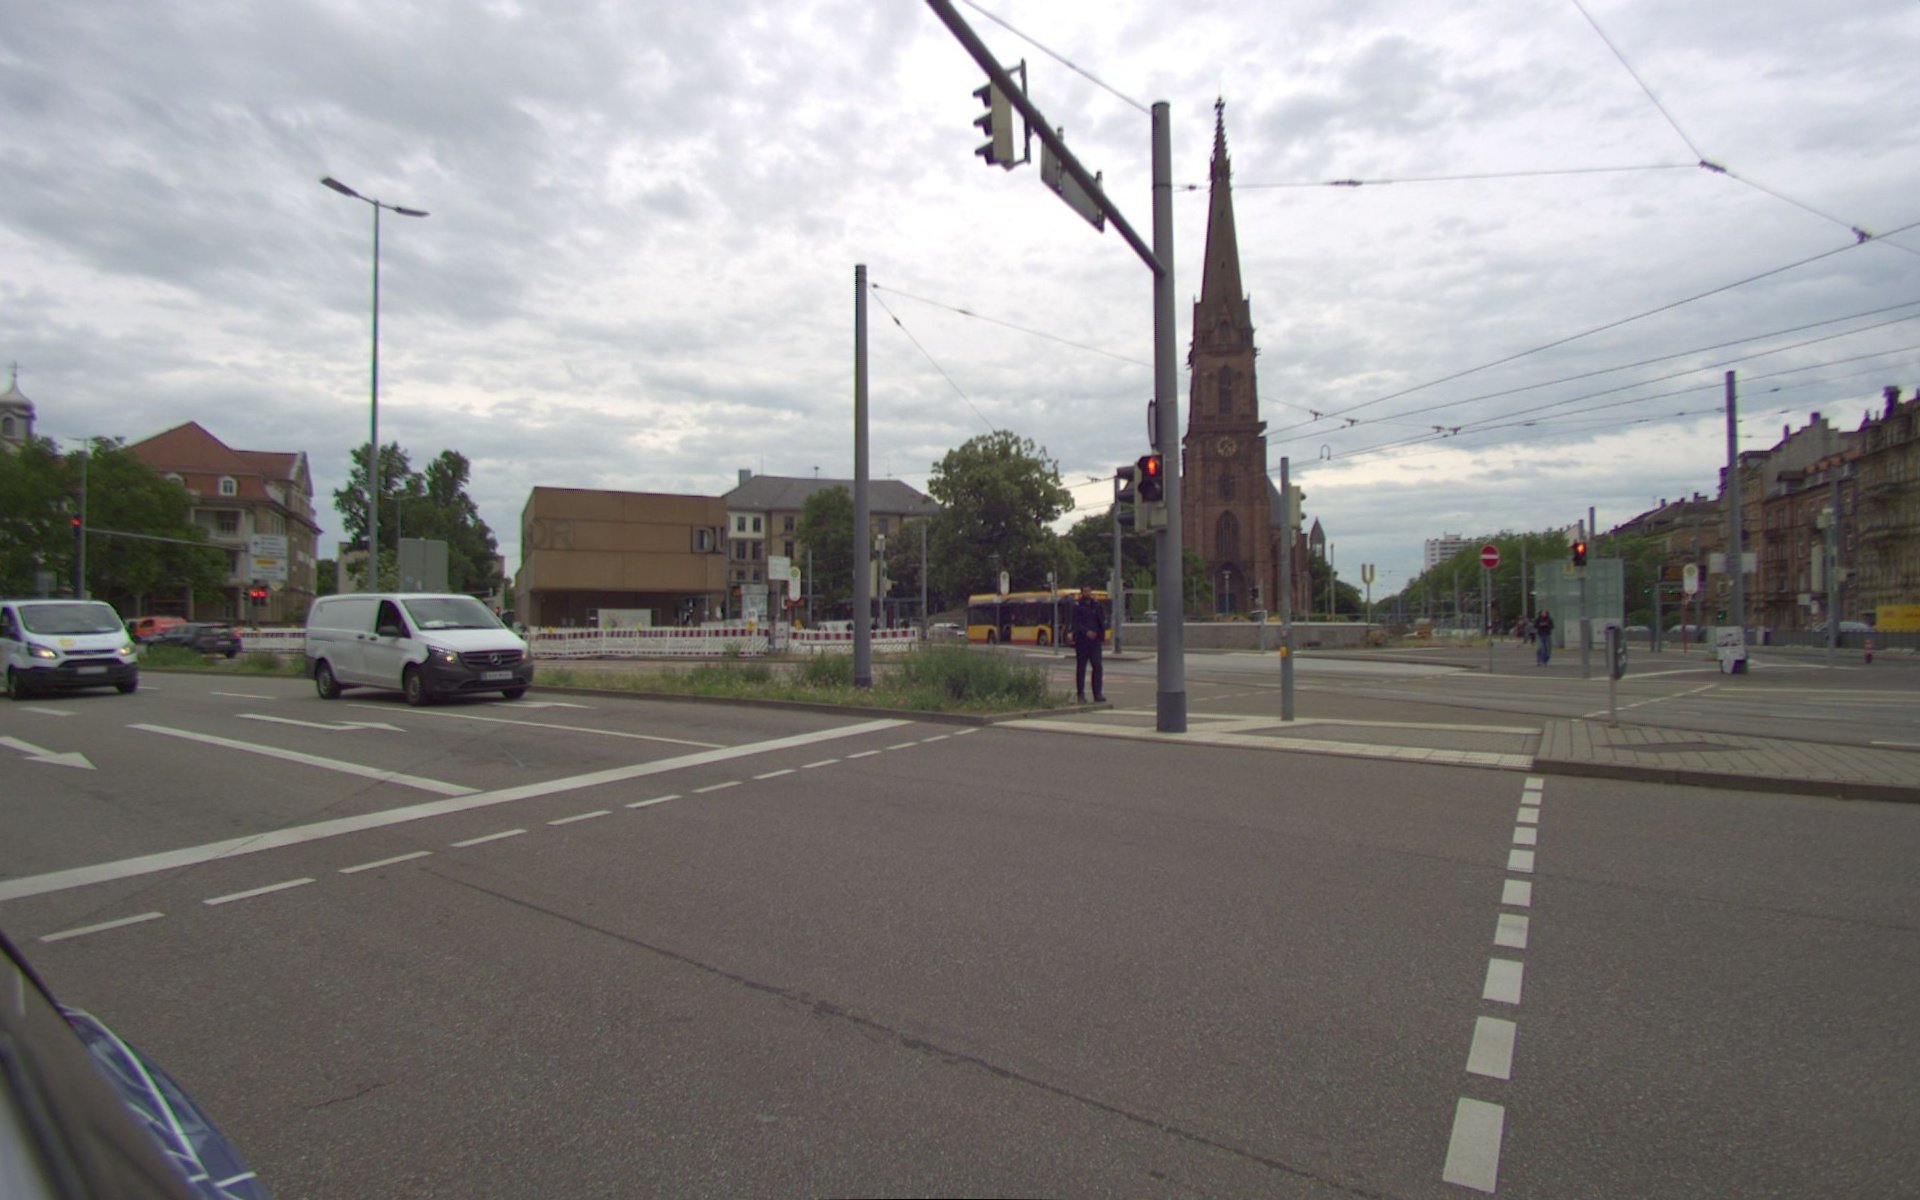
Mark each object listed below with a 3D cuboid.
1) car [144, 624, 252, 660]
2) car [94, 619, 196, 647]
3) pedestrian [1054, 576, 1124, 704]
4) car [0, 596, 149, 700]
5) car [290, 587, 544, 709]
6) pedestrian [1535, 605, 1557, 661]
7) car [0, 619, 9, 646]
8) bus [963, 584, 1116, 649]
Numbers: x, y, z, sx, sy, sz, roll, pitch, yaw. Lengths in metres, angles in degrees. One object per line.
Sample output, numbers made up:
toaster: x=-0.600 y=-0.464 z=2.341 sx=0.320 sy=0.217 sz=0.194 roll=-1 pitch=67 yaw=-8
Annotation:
car: x=-31.358 y=1.728 z=41.649 sx=3.979 sy=1.409 sz=1.982 roll=-1 pitch=-2 yaw=26
car: x=-53.585 y=2.166 z=66.662 sx=1.893 sy=1.730 sz=5.222 roll=-1 pitch=-2 yaw=12
pedestrian: x=2.032 y=0.631 z=16.069 sx=0.768 sy=1.958 sz=0.984 roll=0 pitch=-2 yaw=-15
car: x=-18.990 y=0.968 z=21.005 sx=4.509 sy=1.957 sz=1.978 roll=-1 pitch=-2 yaw=32
car: x=-9.710 y=0.779 z=17.923 sx=5.077 sy=1.896 sz=1.901 roll=-1 pitch=0 yaw=35
pedestrian: x=17.308 y=0.981 z=29.896 sx=0.479 sy=1.623 sz=0.421 roll=-2 pitch=-2 yaw=35
car: x=-62.338 y=2.084 z=63.220 sx=1.994 sy=1.741 sz=3.955 roll=-1 pitch=-1 yaw=33
bus: x=3.916 y=0.873 z=54.472 sx=2.815 sy=3.100 sz=12.060 roll=-1 pitch=-1 yaw=-24
